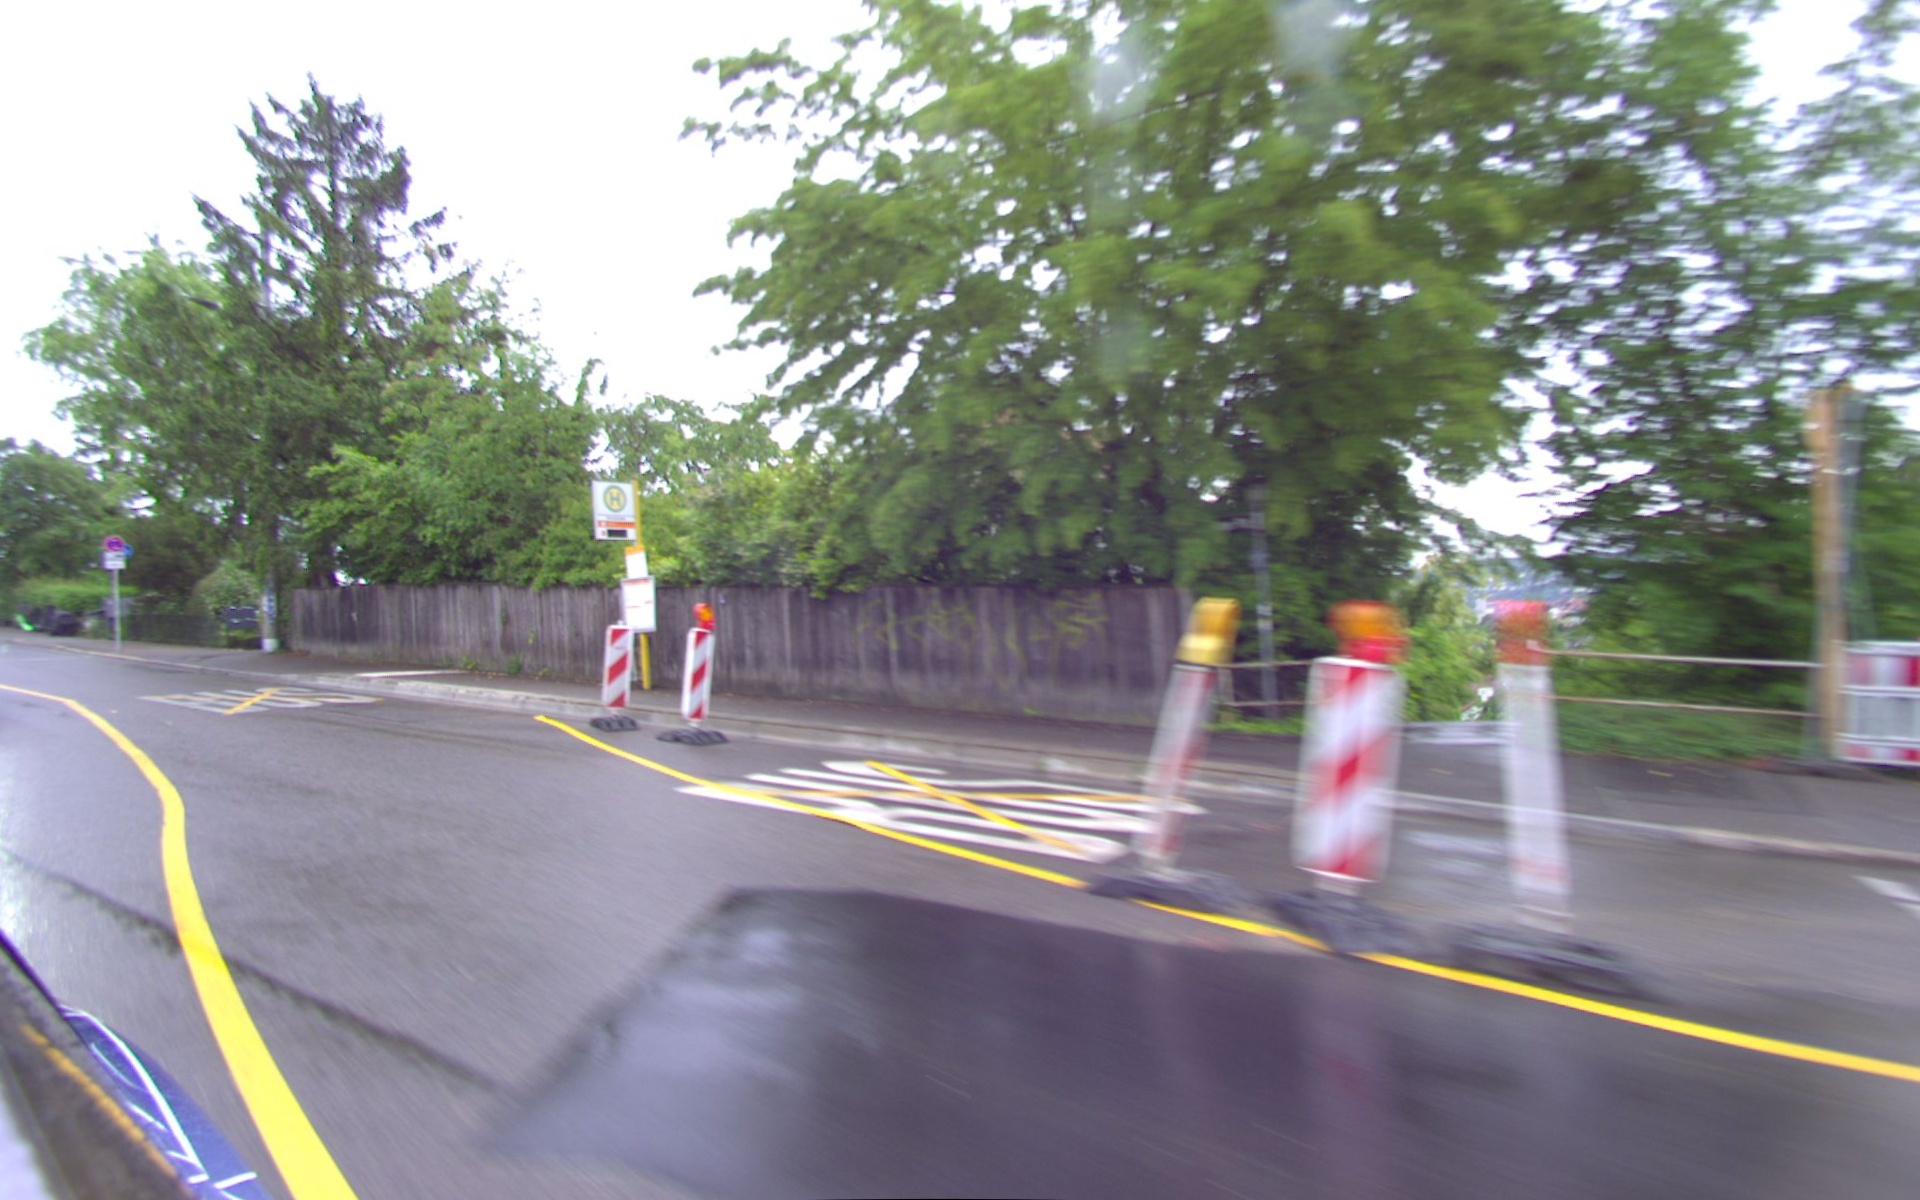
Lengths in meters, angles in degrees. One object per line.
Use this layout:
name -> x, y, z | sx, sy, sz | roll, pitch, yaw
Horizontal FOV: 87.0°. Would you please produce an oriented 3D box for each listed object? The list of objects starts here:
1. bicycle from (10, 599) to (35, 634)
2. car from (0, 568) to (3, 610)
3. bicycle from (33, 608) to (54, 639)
bicycle -> -37.356, 0.646, 40.309 | 1.739, 1.359, 0.416 | 1, 1, 37
car -> -15.341, 0.602, 14.412 | 4.946, 2.029, 1.972 | -2, -5, 42
bicycle -> -34.727, 0.868, 38.332 | 1.254, 1.116, 0.335 | 1, 1, 37
